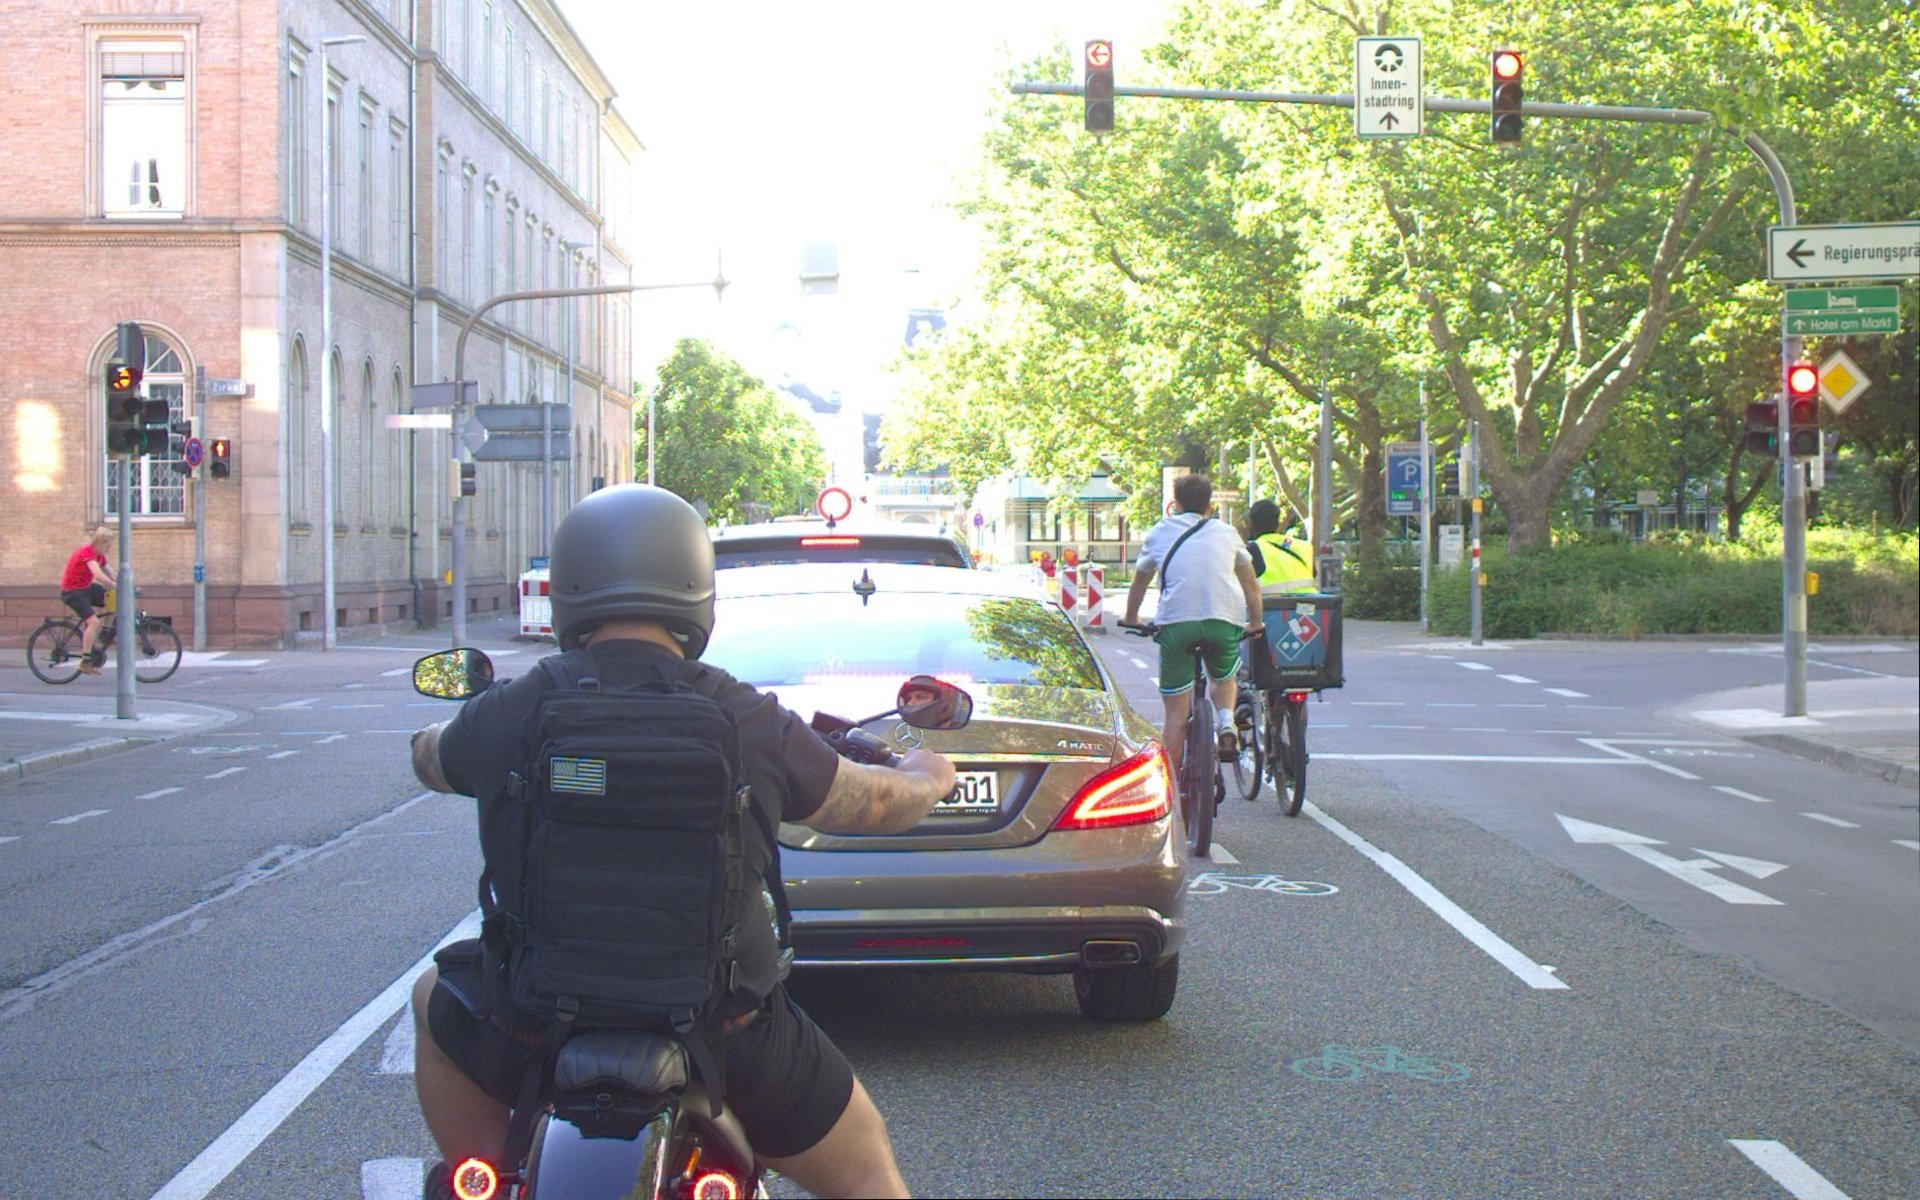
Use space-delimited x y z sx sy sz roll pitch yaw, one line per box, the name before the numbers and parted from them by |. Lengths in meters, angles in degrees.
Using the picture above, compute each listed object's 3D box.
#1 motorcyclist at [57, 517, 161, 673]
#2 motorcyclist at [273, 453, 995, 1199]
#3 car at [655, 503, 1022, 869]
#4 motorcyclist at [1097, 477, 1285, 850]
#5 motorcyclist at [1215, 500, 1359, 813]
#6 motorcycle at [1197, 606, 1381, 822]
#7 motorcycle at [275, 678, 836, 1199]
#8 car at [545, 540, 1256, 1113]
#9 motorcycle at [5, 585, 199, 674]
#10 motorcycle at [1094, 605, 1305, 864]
motorcyclist | -9.534 -0.057 38.527 0.985 1.716 0.550 1 0 4
motorcyclist | -0.463 0.600 5.343 0.990 1.605 1.120 1 0 -1
car | -0.575 0.374 17.672 1.651 1.646 4.000 1 1 -1
motorcyclist | 1.131 0.302 17.018 0.831 1.782 0.913 1 0 -1
motorcyclist | 1.853 0.313 19.585 0.717 1.737 0.751 1 0 -1
motorcycle | 1.852 0.616 19.652 0.797 1.128 2.236 1 1 -1
motorcycle | -0.560 0.780 5.437 0.660 1.236 2.058 1 1 -1
car | -0.404 0.572 11.143 1.824 1.481 4.334 1 1 -7
motorcycle | -9.609 0.328 38.527 2.012 0.958 0.580 1 0 4
motorcycle | 1.147 0.625 16.868 0.863 1.164 1.930 1 1 -1
